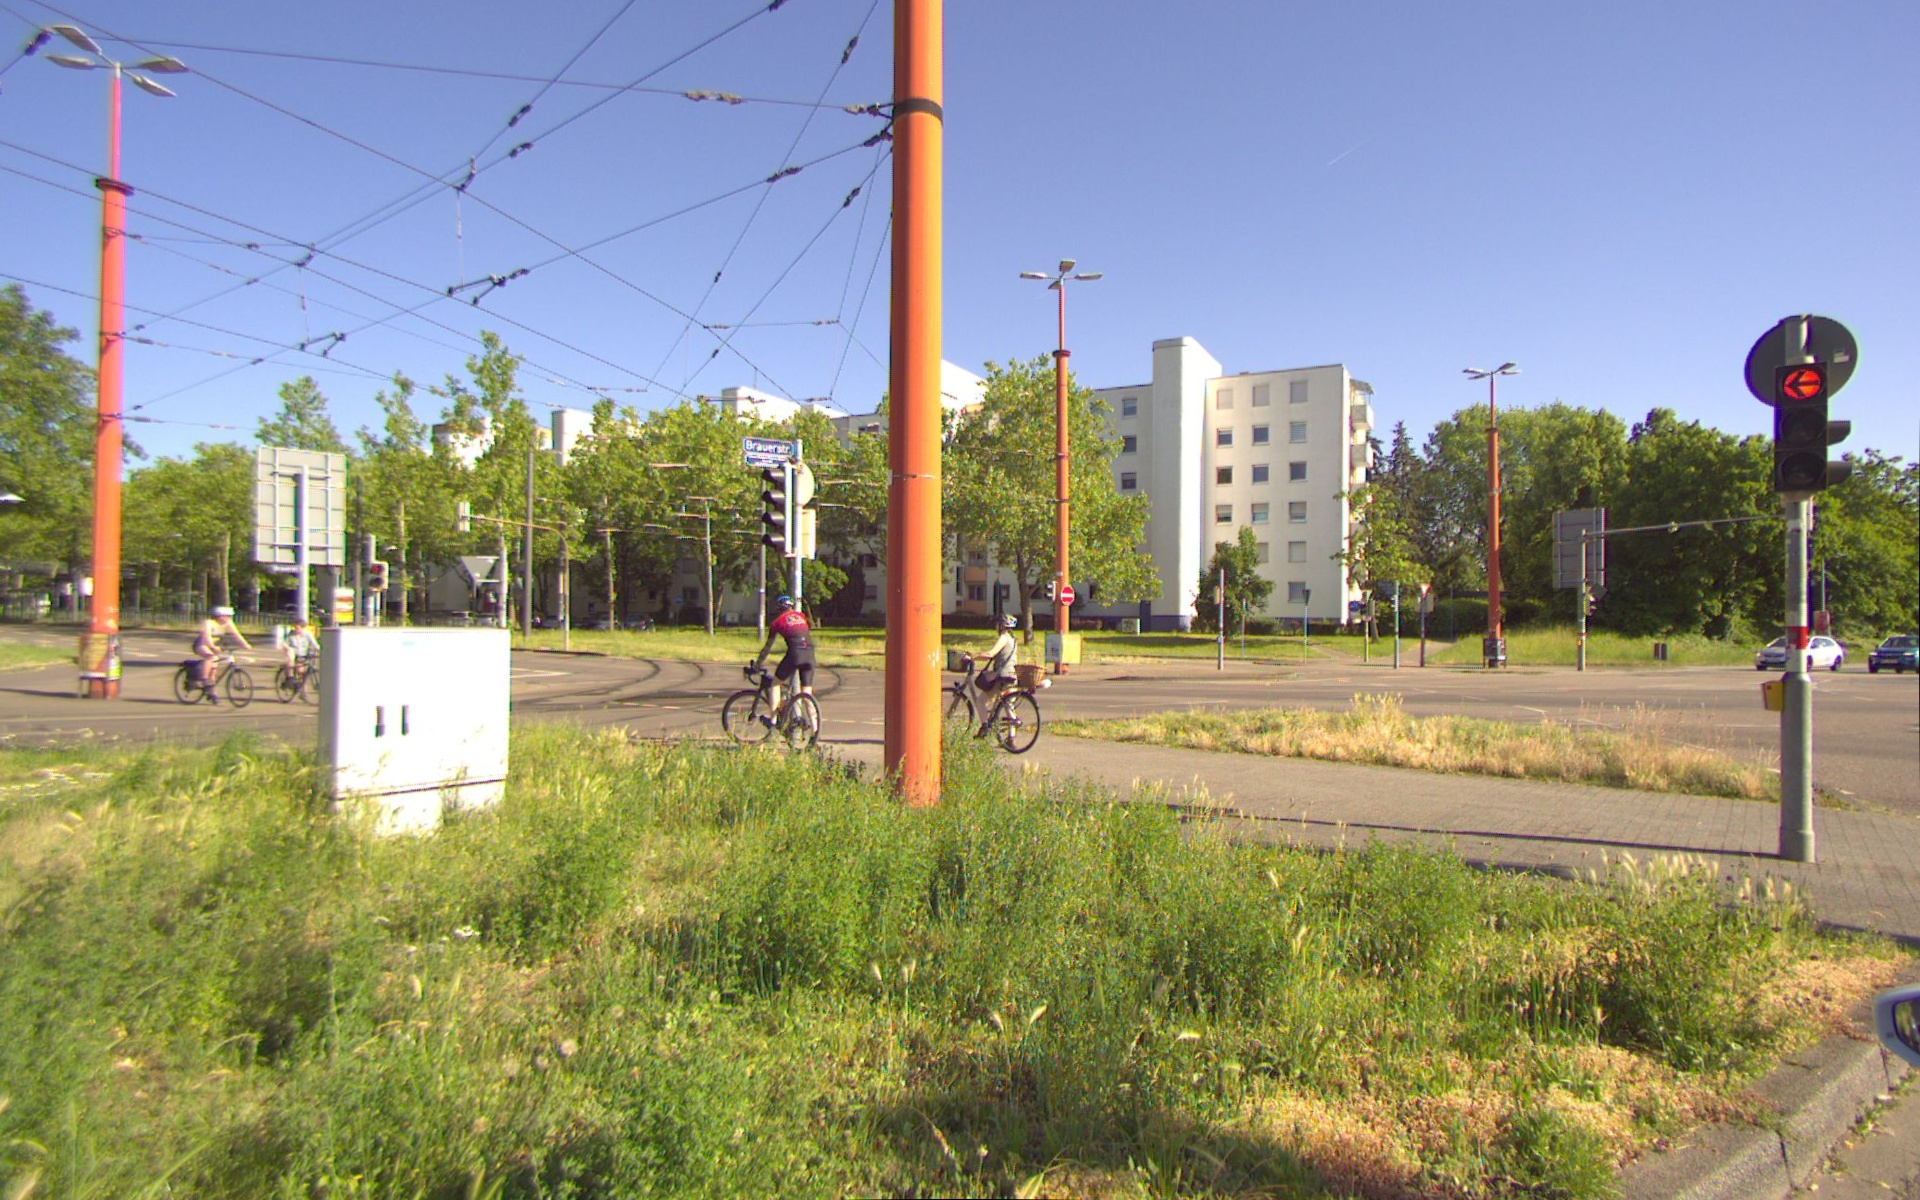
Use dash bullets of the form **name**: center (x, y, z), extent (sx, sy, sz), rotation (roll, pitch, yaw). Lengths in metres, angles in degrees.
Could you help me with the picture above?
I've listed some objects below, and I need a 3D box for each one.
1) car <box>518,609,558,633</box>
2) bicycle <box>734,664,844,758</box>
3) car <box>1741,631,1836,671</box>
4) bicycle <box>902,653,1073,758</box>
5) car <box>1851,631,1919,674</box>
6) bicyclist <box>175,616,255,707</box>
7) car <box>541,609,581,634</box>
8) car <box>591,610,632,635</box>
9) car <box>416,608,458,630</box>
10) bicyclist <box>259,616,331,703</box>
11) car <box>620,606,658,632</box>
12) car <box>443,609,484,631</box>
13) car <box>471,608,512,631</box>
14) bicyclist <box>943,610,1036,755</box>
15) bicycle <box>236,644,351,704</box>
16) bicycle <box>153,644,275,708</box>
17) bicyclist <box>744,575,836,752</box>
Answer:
- **car**: center (-33.803, 1.673, 80.531), extent (1.963, 1.840, 3.995), rotation (1, -1, -8)
- **bicycle**: center (-2.112, 1.307, 12.237), extent (0.915, 0.976, 1.747), rotation (1, -1, -24)
- **car**: center (35.148, 2.152, 42.606), extent (4.075, 1.594, 1.983), rotation (1, -1, -32)
- **bicycle**: center (0.318, 1.226, 12.122), extent (1.855, 1.102, 0.925), rotation (0, -1, 34)
- **car**: center (37.272, 2.039, 39.865), extent (4.079, 1.594, 1.981), rotation (2, -1, -35)
- **bicyclist**: center (-13.998, 1.134, 18.899), extent (0.726, 1.659, 0.934), rotation (0, -1, 18)
- **car**: center (-31.187, 1.678, 78.681), extent (1.963, 1.840, 3.995), rotation (1, -1, -8)
- **car**: center (-26.104, 1.689, 75.331), extent (1.962, 1.840, 3.997), rotation (1, -1, -5)
- **car**: center (-46.017, 1.678, 88.479), extent (1.963, 1.840, 3.995), rotation (1, -1, -8)
- **bicyclist**: center (-13.208, 1.162, 19.970), extent (0.726, 1.659, 0.934), rotation (0, -1, 18)
- **car**: center (-23.398, 1.401, 73.419), extent (1.963, 1.840, 3.995), rotation (1, -1, -8)
- **car**: center (-42.668, 1.702, 86.451), extent (1.963, 1.840, 3.995), rotation (1, -1, -8)
- **car**: center (-39.278, 1.644, 84.329), extent (1.963, 1.840, 3.995), rotation (1, -1, -8)
- **bicyclist**: center (0.362, 0.957, 12.098), extent (0.728, 1.659, 0.931), rotation (0, -1, 35)
- **bicycle**: center (-13.248, 1.442, 19.982), extent (1.849, 1.102, 0.928), rotation (0, -1, 18)
- **bicycle**: center (-14.025, 1.412, 18.897), extent (1.849, 1.102, 0.928), rotation (0, -1, 18)
- **bicyclist**: center (-2.063, 0.748, 12.141), extent (0.921, 2.040, 0.736), rotation (1, -1, -25)
